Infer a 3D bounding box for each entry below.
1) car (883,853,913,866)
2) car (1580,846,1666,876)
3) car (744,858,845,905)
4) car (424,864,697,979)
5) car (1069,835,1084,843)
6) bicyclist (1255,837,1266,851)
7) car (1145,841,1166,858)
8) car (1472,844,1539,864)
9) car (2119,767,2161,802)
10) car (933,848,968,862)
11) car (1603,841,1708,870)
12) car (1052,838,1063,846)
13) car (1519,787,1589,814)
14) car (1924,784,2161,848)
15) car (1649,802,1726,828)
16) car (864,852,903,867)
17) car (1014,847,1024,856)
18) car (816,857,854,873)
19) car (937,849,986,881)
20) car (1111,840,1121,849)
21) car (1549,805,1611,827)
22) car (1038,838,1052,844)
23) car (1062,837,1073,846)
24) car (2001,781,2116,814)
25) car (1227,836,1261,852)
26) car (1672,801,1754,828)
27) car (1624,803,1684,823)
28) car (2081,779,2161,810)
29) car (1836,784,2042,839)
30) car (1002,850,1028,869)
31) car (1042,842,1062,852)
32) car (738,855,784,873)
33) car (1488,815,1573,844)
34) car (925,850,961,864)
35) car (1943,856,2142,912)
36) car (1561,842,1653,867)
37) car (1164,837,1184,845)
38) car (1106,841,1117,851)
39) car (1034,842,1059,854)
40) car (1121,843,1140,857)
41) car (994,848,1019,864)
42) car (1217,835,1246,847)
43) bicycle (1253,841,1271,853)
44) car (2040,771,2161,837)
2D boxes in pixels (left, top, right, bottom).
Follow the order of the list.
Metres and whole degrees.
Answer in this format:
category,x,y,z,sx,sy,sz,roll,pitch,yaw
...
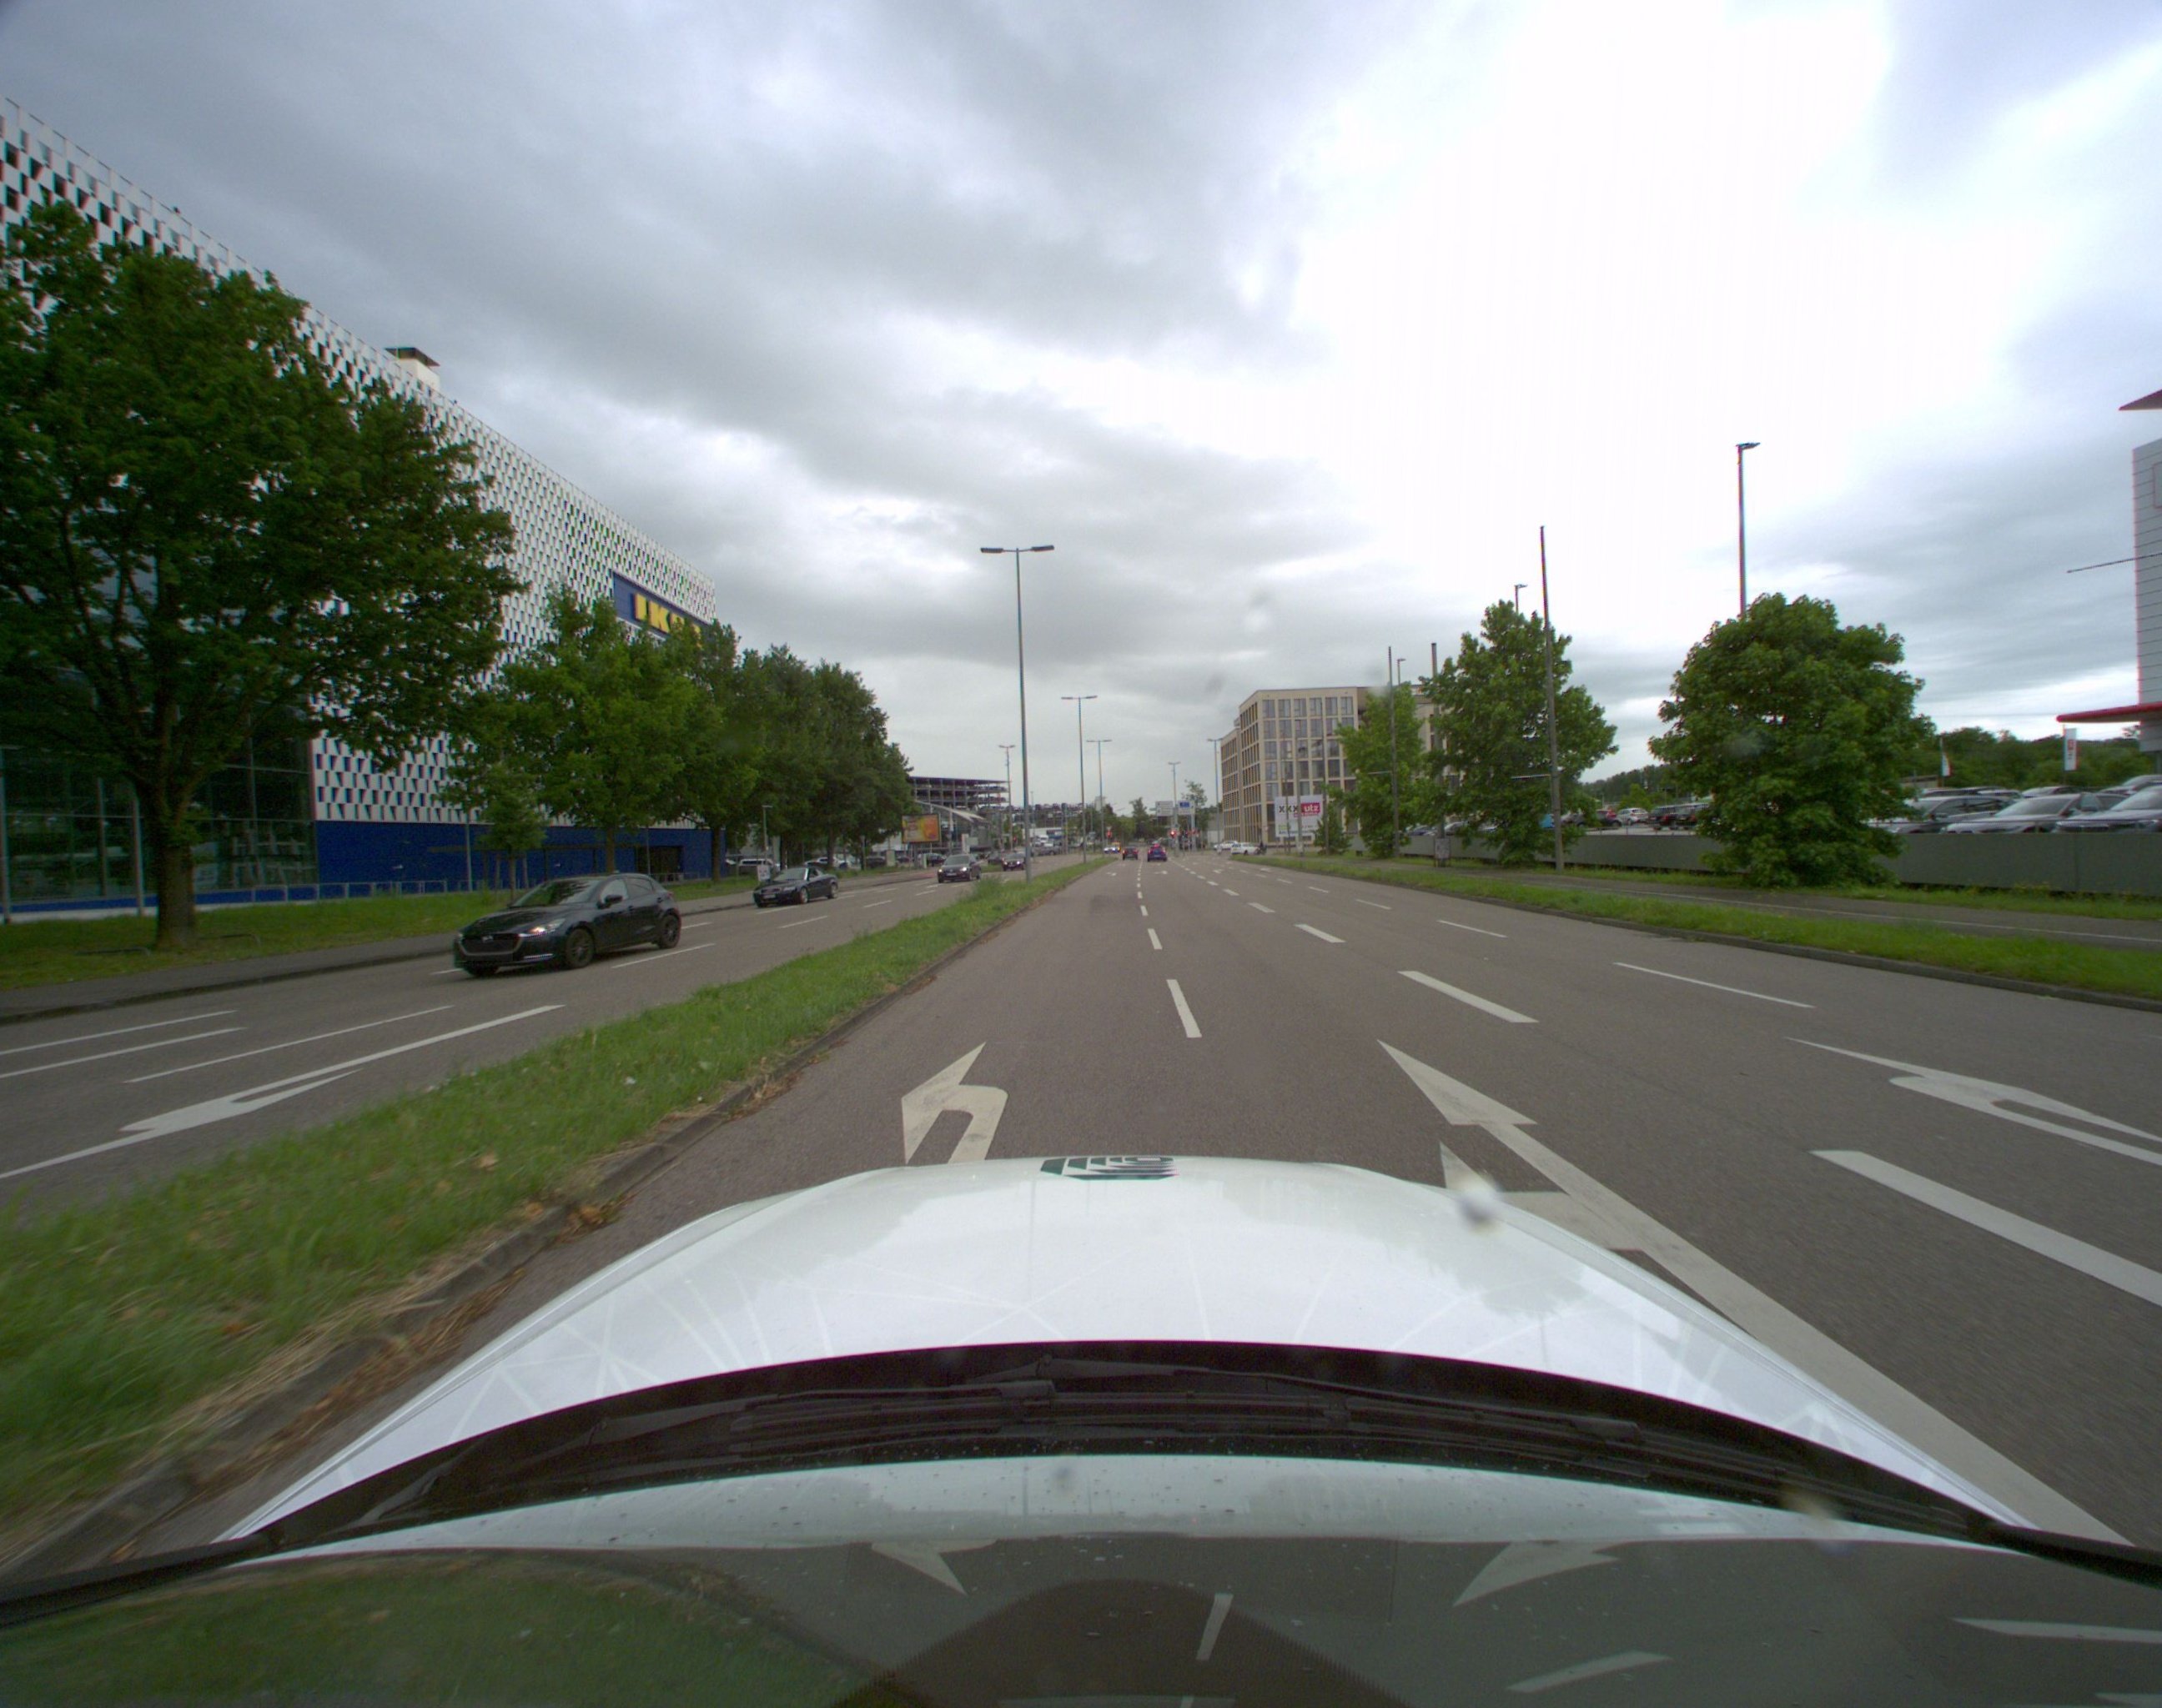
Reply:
category,x,y,z,sx,sy,sz,roll,pitch,yaw
car,-26.517,0.855,118.086,3.847,1.634,1.724,-2,2,-3
car,36.080,0.477,54.280,4.347,1.832,2.003,-2,0,4
car,-10.756,0.987,30.954,1.762,1.452,4.414,-4,0,7
car,-8.473,1.009,13.766,1.750,1.453,4.004,-4,0,4
car,-0.997,-3.501,188.994,3.284,1.640,1.480,-2,2,0
bicyclist,20.097,-1.146,91.316,0.705,1.503,0.990,-2,1,-33
car,7.131,-0.468,78.002,1.827,1.514,4.004,-2,0,3
car,31.723,-0.016,60.913,4.038,1.350,1.765,-2,0,2
car,50.303,-3.239,37.084,3.613,1.555,1.705,-2,2,7
car,-17.886,0.150,111.651,4.385,1.643,2.002,-2,2,2
car,24.886,0.075,35.332,3.499,1.131,1.456,-2,0,2
car,-5.164,-2.691,179.436,1.765,1.705,3.927,-2,3,9
car,42.391,-4.763,73.044,4.985,2.210,2.170,-2,2,6
car,24.475,-0.968,20.808,4.039,1.399,1.765,-2,2,1
car,40.833,-2.629,54.893,3.823,1.507,1.787,-3,2,6
car,-25.415,0.743,104.932,4.533,1.659,1.998,-3,1,-3
car,-9.950,-0.432,130.661,1.371,1.326,3.023,-3,3,-10
car,-32.674,1.466,108.247,4.421,1.710,1.999,-2,4,-2
car,-6.485,0.562,44.532,1.773,1.455,4.185,-4,1,3
car,6.309,-1.800,146.760,1.593,1.453,3.329,-2,3,4
car,39.738,-3.031,64.928,3.823,1.507,1.787,-3,2,6
car,-9.399,-3.365,211.473,3.655,1.528,1.613,-2,2,-4
car,-2.985,-2.773,179.358,1.765,1.705,3.927,-2,3,9
car,50.247,-2.899,41.917,3.613,1.516,1.705,-2,2,7
car,19.120,-1.183,95.461,1.975,1.752,4.205,-2,1,45
car,40.663,-2.549,52.446,3.823,1.507,1.787,-3,2,6
car,51.267,-3.666,72.940,3.969,1.577,1.869,-2,0,4
car,55.474,-3.142,42.806,3.617,1.531,1.703,-2,2,3
car,24.510,-1.206,23.375,4.039,1.350,1.765,-2,2,1
car,-5.507,0.448,68.555,1.925,1.455,4.180,-2,1,-1
car,-5.223,-1.255,146.096,3.595,1.667,1.548,-2,2,-1
car,-41.151,1.268,104.809,5.116,1.963,1.880,-2,4,-1
car,26.616,-1.453,48.326,4.056,1.524,1.812,-2,2,-1
car,-17.797,0.422,105.284,4.406,1.659,1.998,-2,0,-4
car,29.915,0.905,25.443,4.038,1.551,1.765,-2,0,2
car,25.626,0.023,39.760,3.499,1.131,1.517,-2,0,2
car,18.931,-2.708,165.043,3.571,1.478,1.770,-1,3,24
car,5.180,-1.384,138.663,1.593,1.453,3.329,-2,3,4
car,-5.767,-0.967,135.411,3.975,1.789,1.847,-2,2,-1
car,5.482,-0.397,90.527,1.980,1.428,4.243,-2,0,2
car,-8.033,0.223,87.733,1.782,1.479,4.539,-4,1,6
car,22.760,-1.937,123.294,3.942,1.567,1.754,-3,3,-10
bicycle,20.238,-0.791,91.138,0.705,1.295,1.990,-2,1,-33
car,24.135,-1.159,17.814,4.137,1.350,1.811,-2,2,1
